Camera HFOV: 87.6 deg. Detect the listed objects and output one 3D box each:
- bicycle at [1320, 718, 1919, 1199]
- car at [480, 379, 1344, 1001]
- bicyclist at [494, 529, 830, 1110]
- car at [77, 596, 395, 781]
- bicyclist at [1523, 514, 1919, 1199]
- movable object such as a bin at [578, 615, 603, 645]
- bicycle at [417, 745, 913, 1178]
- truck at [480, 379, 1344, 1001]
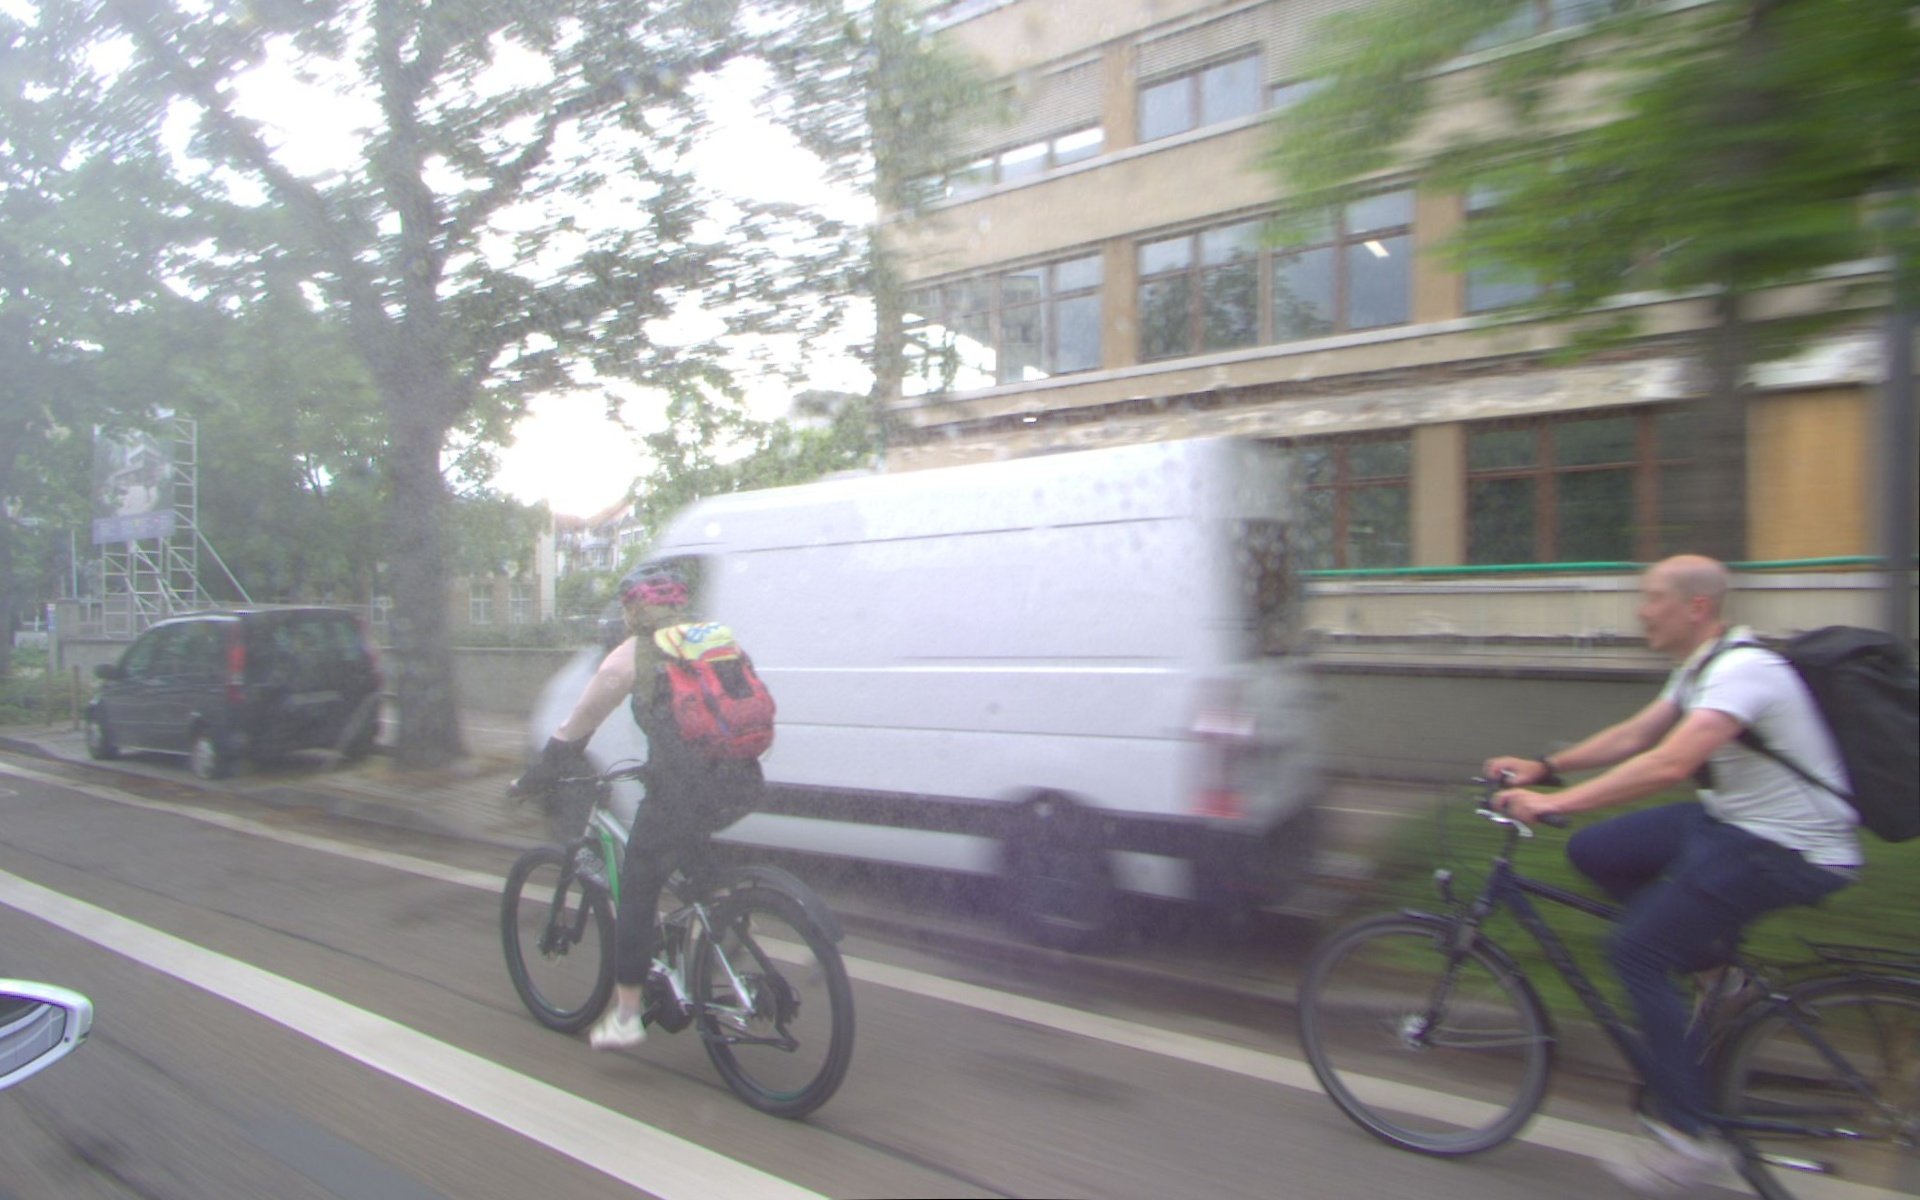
[{"bbox_3d":[1.952,0.938,2.560,1.839,1.131,0.663,0,-2,32],"label":"bicycle"},{"bbox_3d":[-0.522,0.434,6.566,5.411,2.636,2.110,0,-1,31],"label":"car"},{"bbox_3d":[-0.991,0.627,3.341,0.907,1.631,0.656,0,0,34],"label":"bicyclist"},{"bbox_3d":[-8.557,0.948,11.756,4.026,1.835,1.651,-1,-2,32],"label":"car"},{"bbox_3d":[1.995,0.625,2.530,0.972,1.590,0.661,0,-1,32],"label":"bicyclist"},{"bbox_3d":[-18.916,1.518,51.267,1.040,1.470,1.347,0,1,-29],"label":"movable object such as a bin"},{"bbox_3d":[-1.125,1.098,3.510,2.029,0.992,0.488,-1,-2,34],"label":"bicycle"},{"bbox_3d":[-0.522,0.434,6.566,5.411,2.636,2.110,0,-1,31],"label":"truck"}]
